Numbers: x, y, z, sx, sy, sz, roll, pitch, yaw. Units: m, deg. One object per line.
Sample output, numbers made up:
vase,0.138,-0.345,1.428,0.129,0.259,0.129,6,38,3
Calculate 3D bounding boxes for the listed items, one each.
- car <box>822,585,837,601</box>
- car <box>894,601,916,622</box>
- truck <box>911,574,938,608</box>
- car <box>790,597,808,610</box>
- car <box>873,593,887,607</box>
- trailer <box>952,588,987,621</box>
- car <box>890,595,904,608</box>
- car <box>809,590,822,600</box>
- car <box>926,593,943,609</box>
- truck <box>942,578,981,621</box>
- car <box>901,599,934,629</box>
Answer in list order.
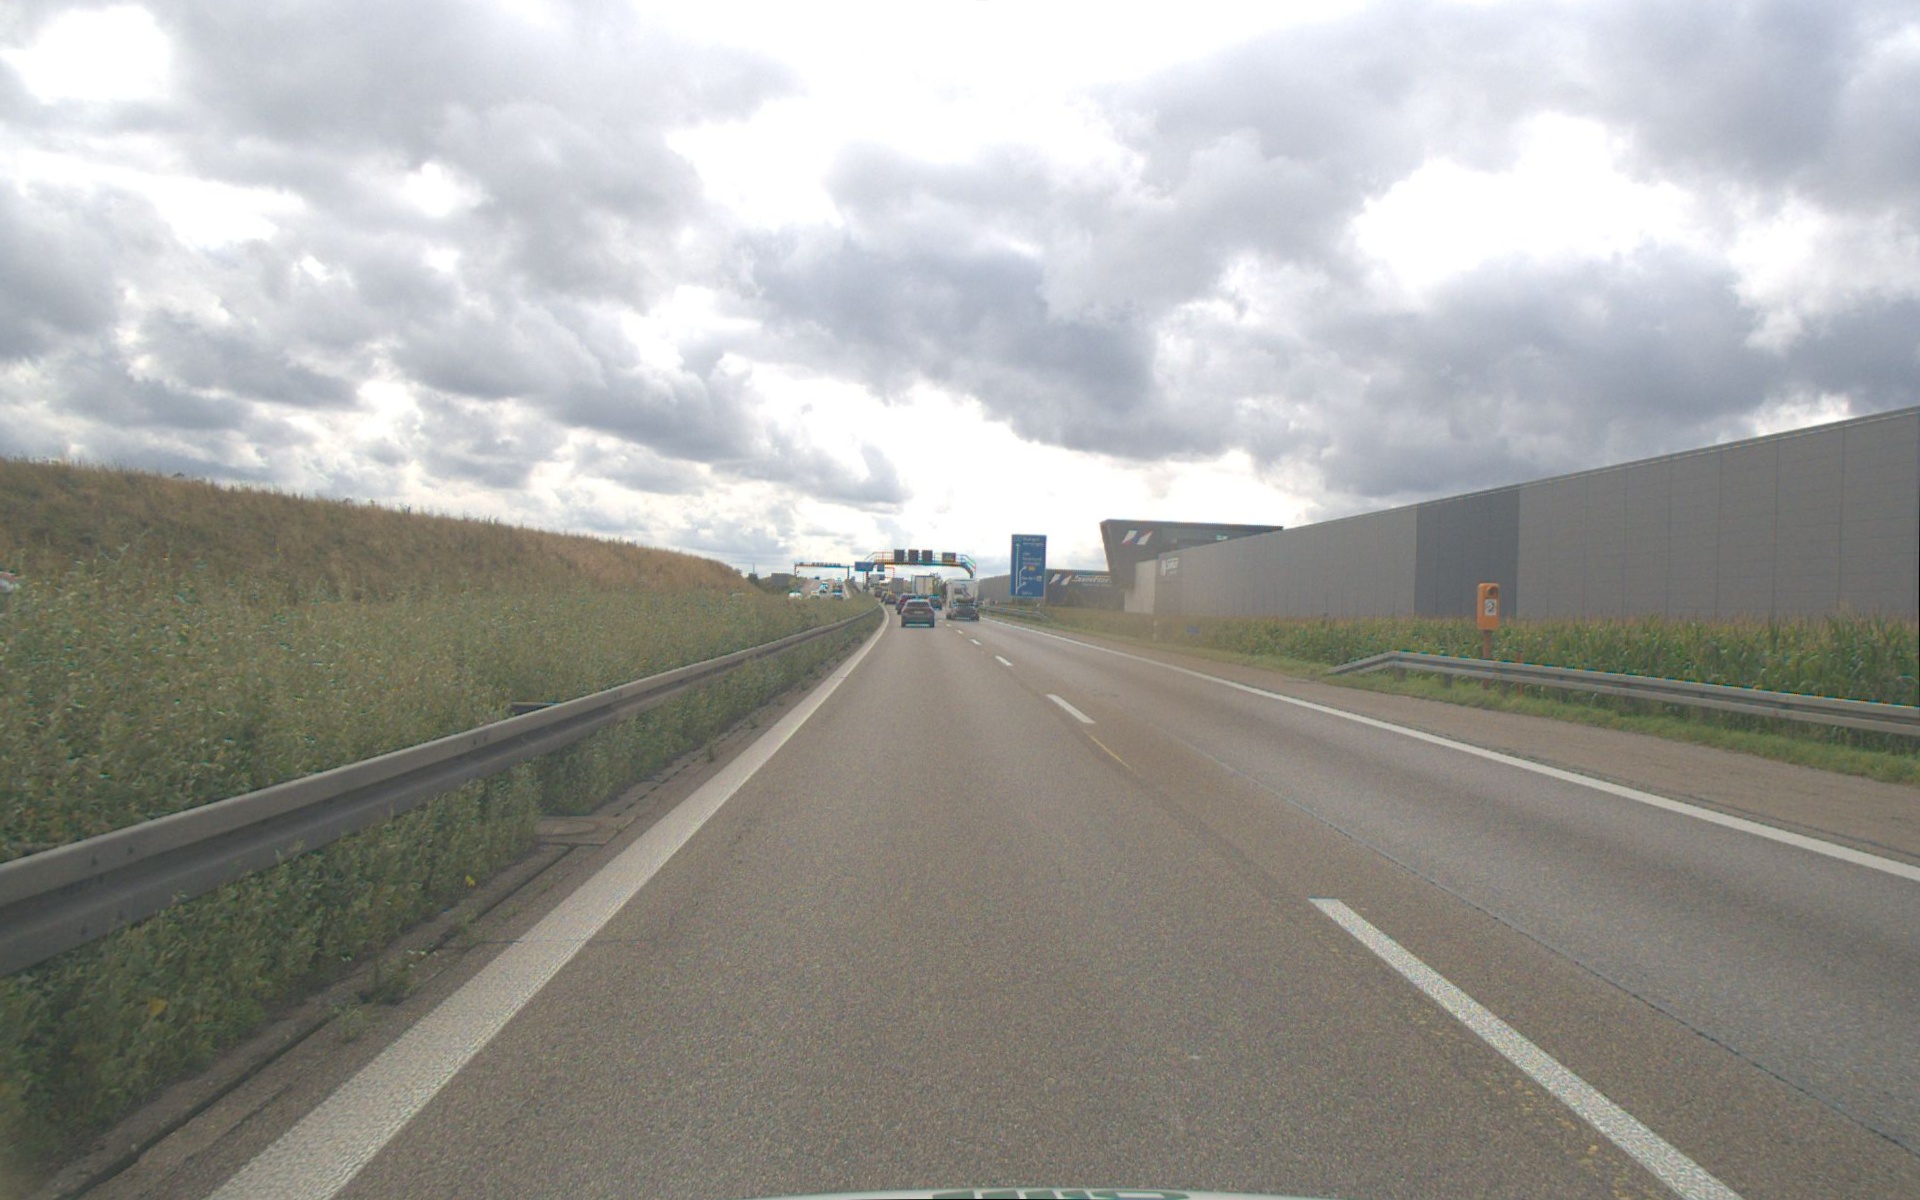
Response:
car,-19.633,-1.068,249.325,1.954,2.389,5.867,1,0,-3
car,-4.753,1.004,143.555,1.906,1.714,3.999,1,0,-2
truck,-5.019,-1.264,231.621,3.273,4.613,8.011,1,0,-4
car,-17.963,0.367,185.048,1.689,1.428,4.340,1,0,-2
car,-12.315,-0.029,255.563,1.953,2.049,3.999,1,0,-1
trailer,0.636,0.294,114.509,2.291,2.174,3.999,1,0,-2
car,-8.498,0.216,223.278,1.904,1.806,3.695,1,0,-2
car,-22.383,-0.803,256.401,1.737,1.479,3.998,1,0,-2
car,-2.906,0.116,185.793,1.765,1.714,3.998,1,0,-2
truck,0.078,-0.002,121.463,2.433,3.002,5.810,1,0,-4
car,-2.259,0.739,88.144,1.711,1.478,3.999,1,0,-1
